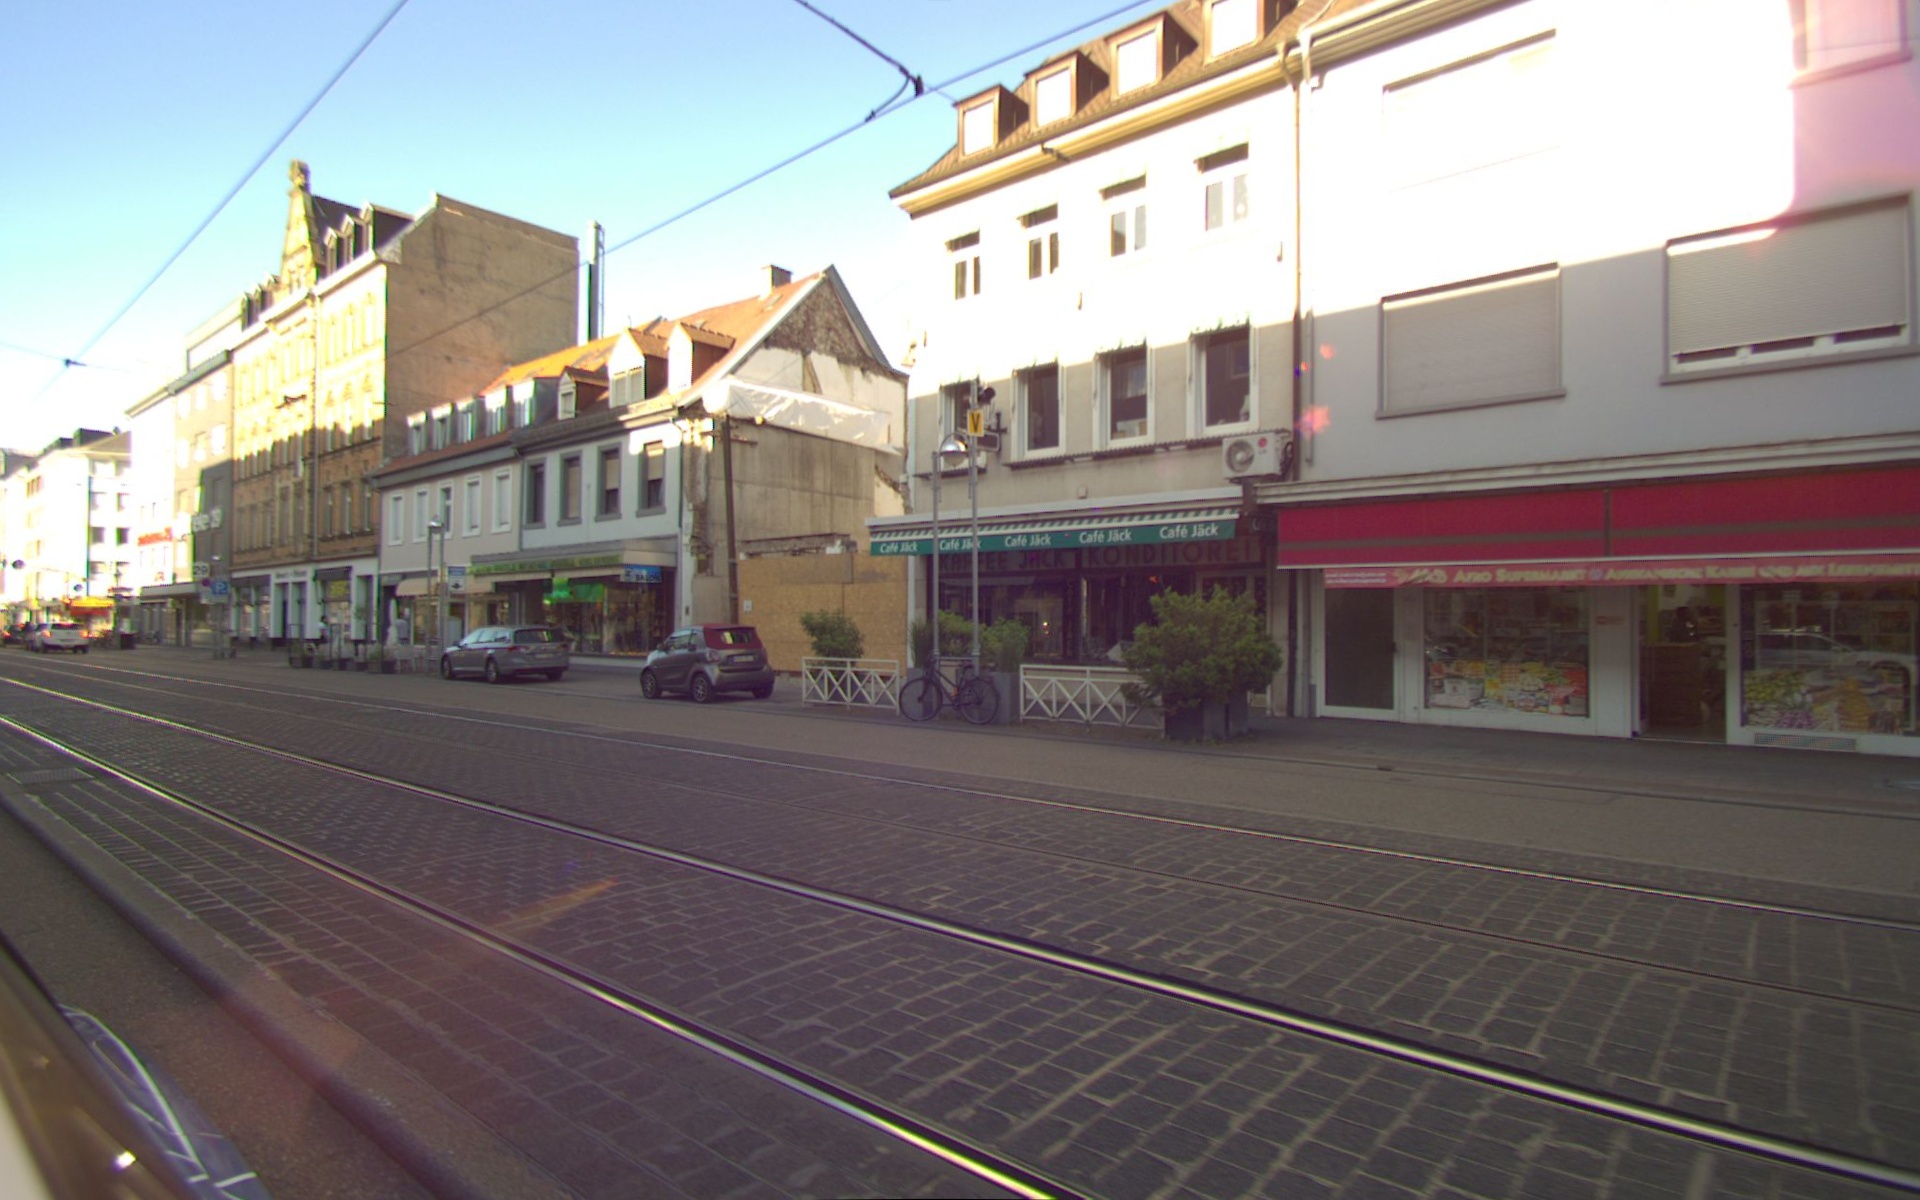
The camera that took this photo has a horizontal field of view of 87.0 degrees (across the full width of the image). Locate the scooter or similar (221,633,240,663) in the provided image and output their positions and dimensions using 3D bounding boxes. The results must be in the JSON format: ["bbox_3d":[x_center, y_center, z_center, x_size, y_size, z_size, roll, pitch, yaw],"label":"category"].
[{"bbox_3d":[-32.060,2.102,44.455,1.201,1.232,0.399,-1,0,41],"label":"scooter or similar"}]
